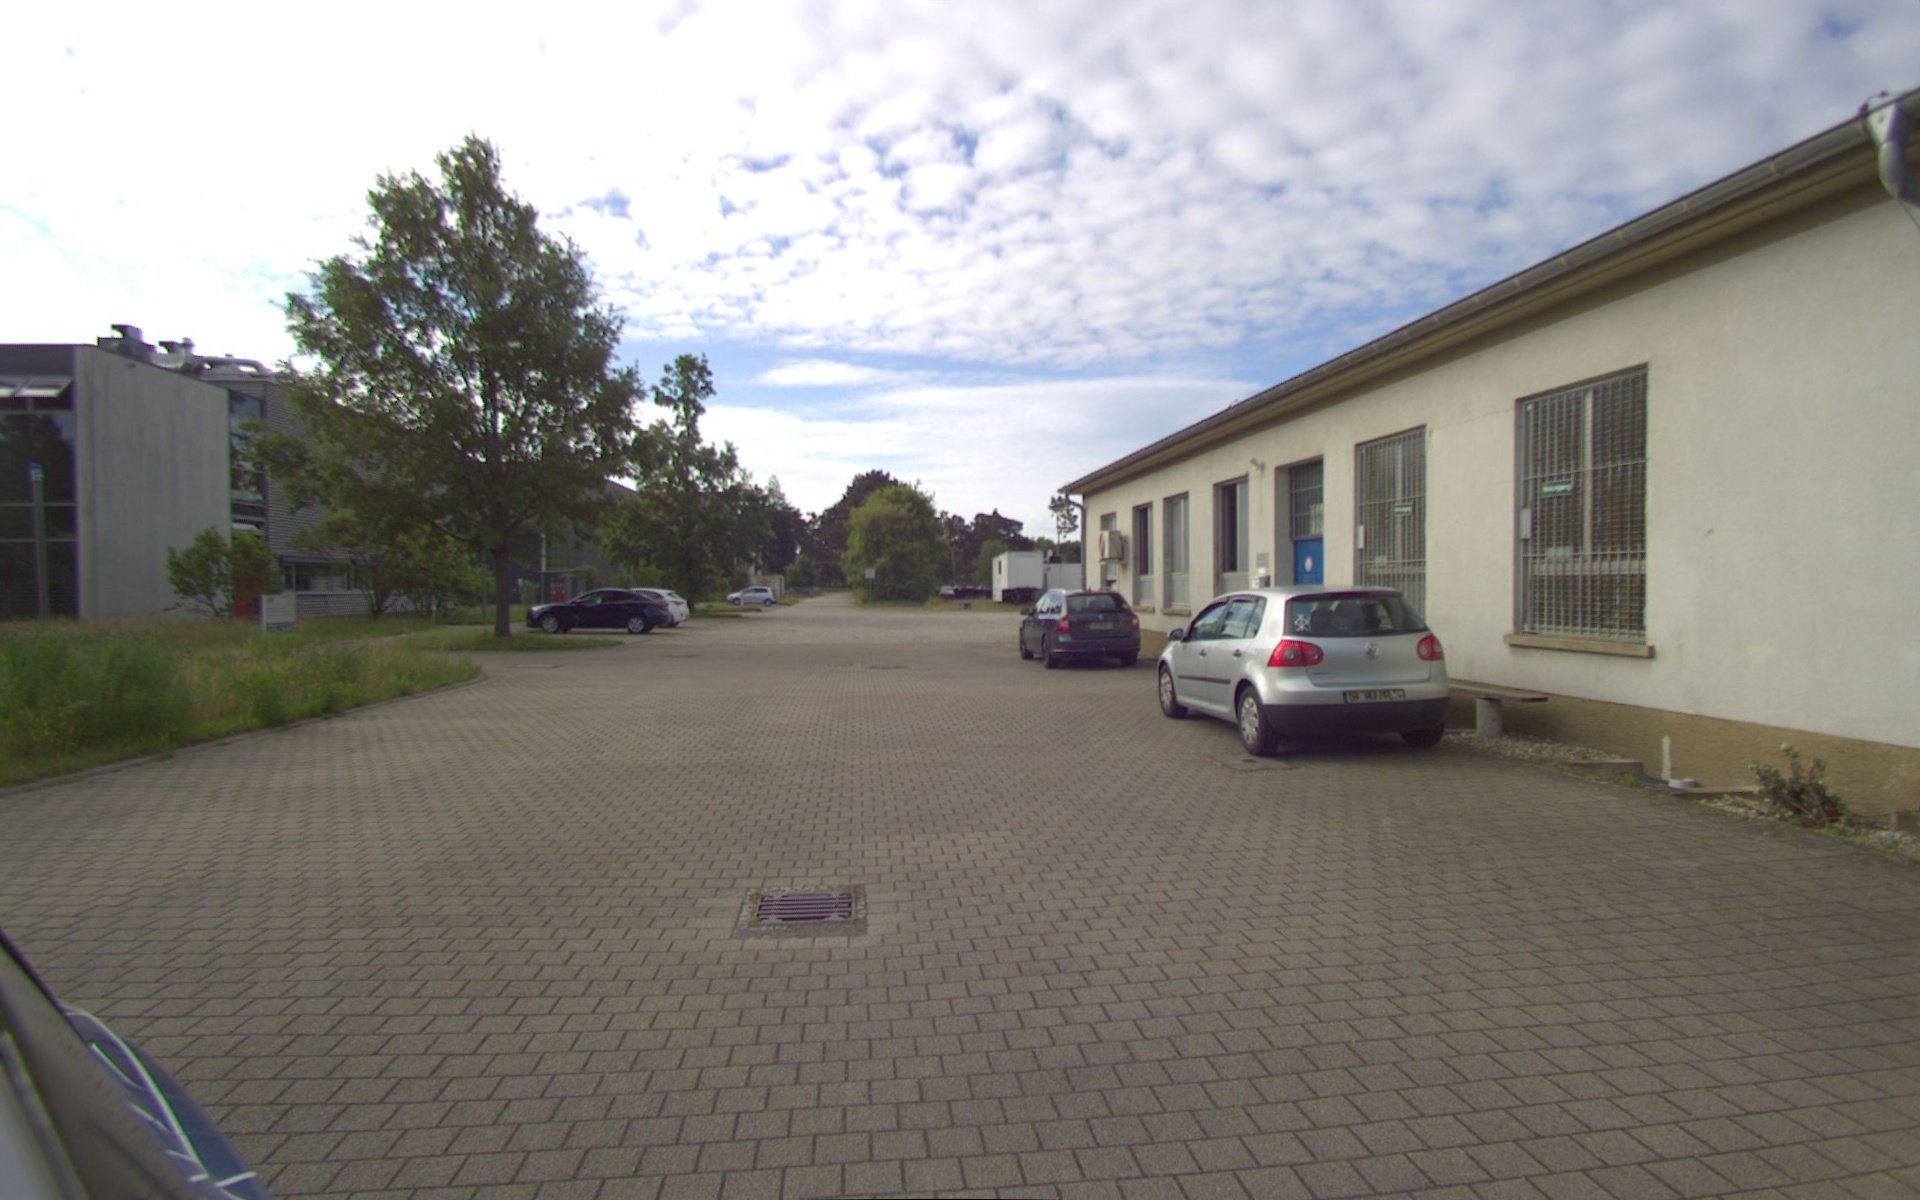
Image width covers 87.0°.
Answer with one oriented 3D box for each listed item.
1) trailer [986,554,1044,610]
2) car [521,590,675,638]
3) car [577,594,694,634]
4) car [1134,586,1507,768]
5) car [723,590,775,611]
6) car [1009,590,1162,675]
[{"bbox_3d":[3.777,-1.219,72.553,2.835,3.690,10.787,0,0,-4],"label":"trailer"},{"bbox_3d":[-11.747,0.457,33.095,4.409,1.458,1.947,1,0,-6],"label":"car"},{"bbox_3d":[-12.254,0.504,38.370,3.927,1.477,1.885,0,0,-6],"label":"car"},{"bbox_3d":[3.301,0.602,10.355,1.901,1.450,4.373,0,0,-5],"label":"car"},{"bbox_3d":[-17.571,0.063,84.331,4.069,1.637,1.943,1,1,-8],"label":"car"},{"bbox_3d":[2.327,0.557,20.142,1.900,1.472,4.819,0,0,-7],"label":"car"}]
